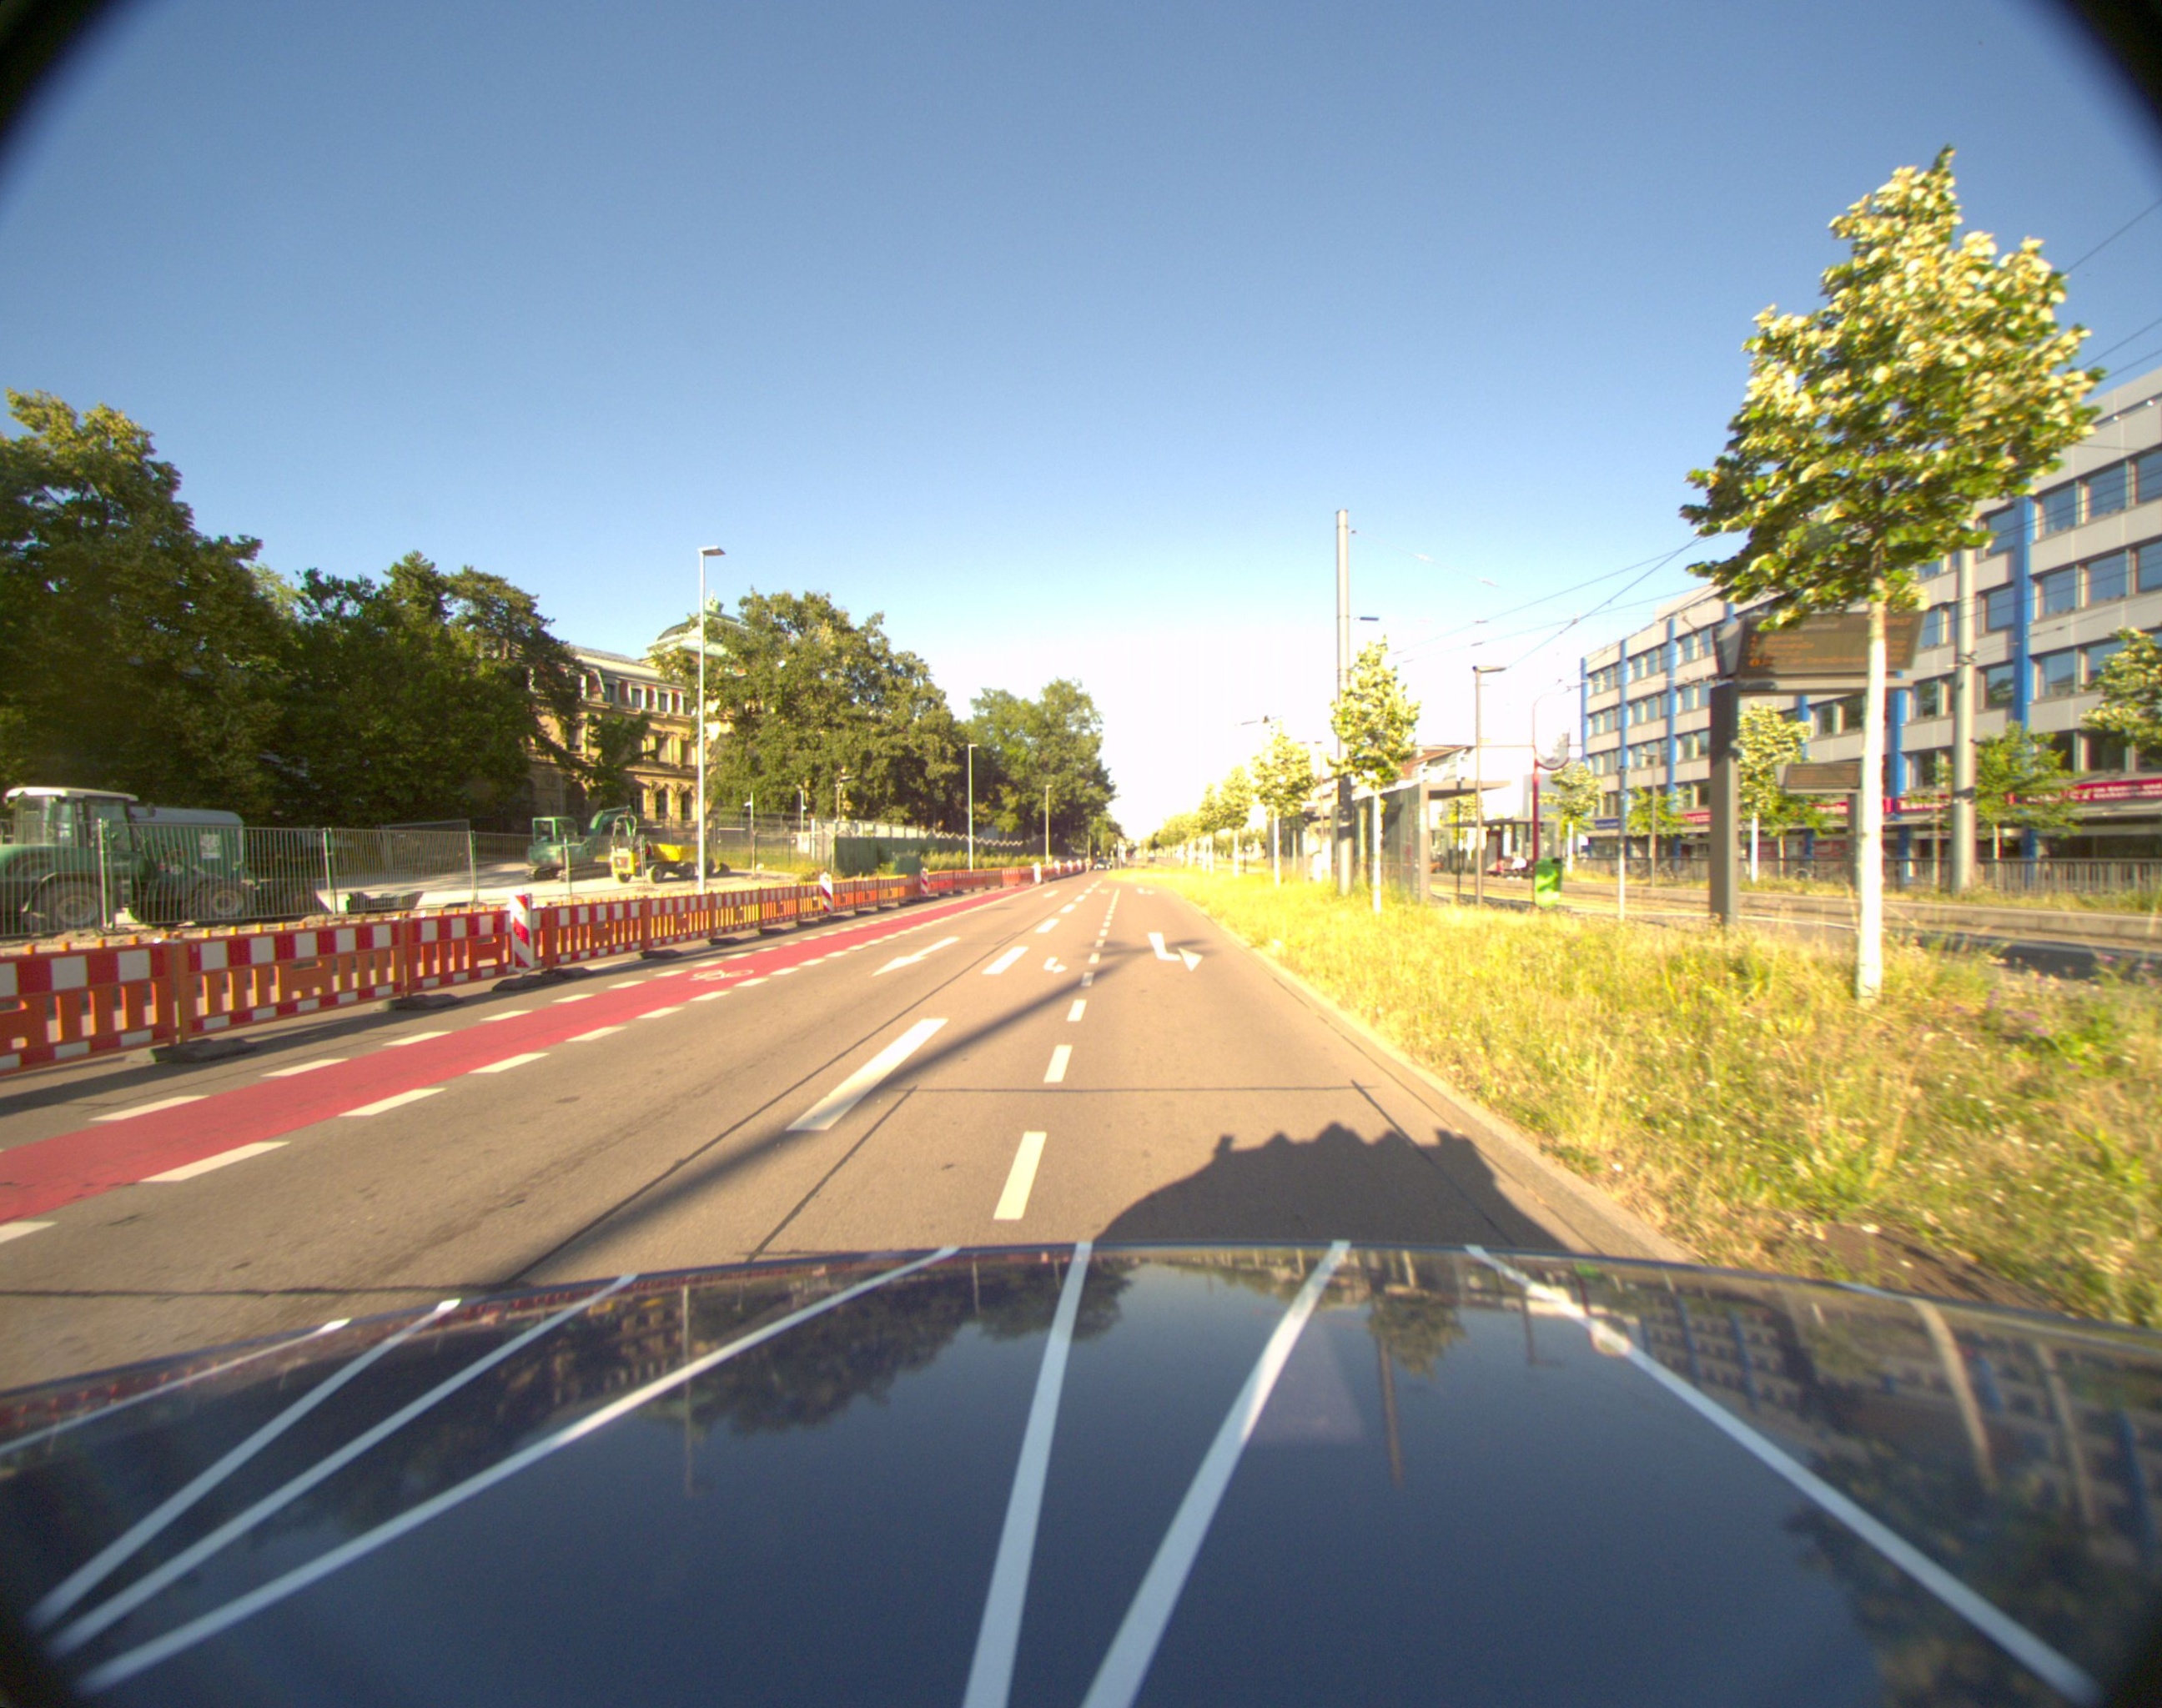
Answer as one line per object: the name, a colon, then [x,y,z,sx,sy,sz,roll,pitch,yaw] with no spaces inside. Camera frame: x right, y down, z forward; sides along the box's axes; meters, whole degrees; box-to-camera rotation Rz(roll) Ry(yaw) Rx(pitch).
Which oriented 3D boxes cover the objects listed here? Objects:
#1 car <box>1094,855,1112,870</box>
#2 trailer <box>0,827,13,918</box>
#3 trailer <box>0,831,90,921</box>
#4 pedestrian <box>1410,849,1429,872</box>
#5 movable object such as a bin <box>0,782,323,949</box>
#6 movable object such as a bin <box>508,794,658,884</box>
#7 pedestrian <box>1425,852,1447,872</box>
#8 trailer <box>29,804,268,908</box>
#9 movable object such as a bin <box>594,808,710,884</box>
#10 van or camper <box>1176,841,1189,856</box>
car: [2.770,1.042,94.323,2.080,1.827,4.001,0,0,4]
trailer: [-30.041,0.561,18.354,5.043,2.311,2.222,0,6,0]
trailer: [-30.785,0.593,21.236,2.954,2.311,2.222,0,6,0]
pedestrian: [20.759,0.374,46.625,0.840,1.402,0.804,0,1,3]
movable object such as a bin: [-18.408,0.177,14.726,2.281,2.688,4.943,0,0,3]
movable object such as a bin: [-21.147,-0.590,32.649,2.280,3.537,5.502,0,0,8]
pedestrian: [20.563,0.460,44.060,0.936,1.190,0.764,0,1,3]
trailer: [-30.497,-0.054,25.119,2.616,3.075,3.982,0,6,0]
movable object such as a bin: [-17.456,-0.311,31.155,1.997,2.887,4.003,0,0,10]
van or camper: [21.495,-1.097,161.493,2.510,3.149,7.479,-1,0,7]
